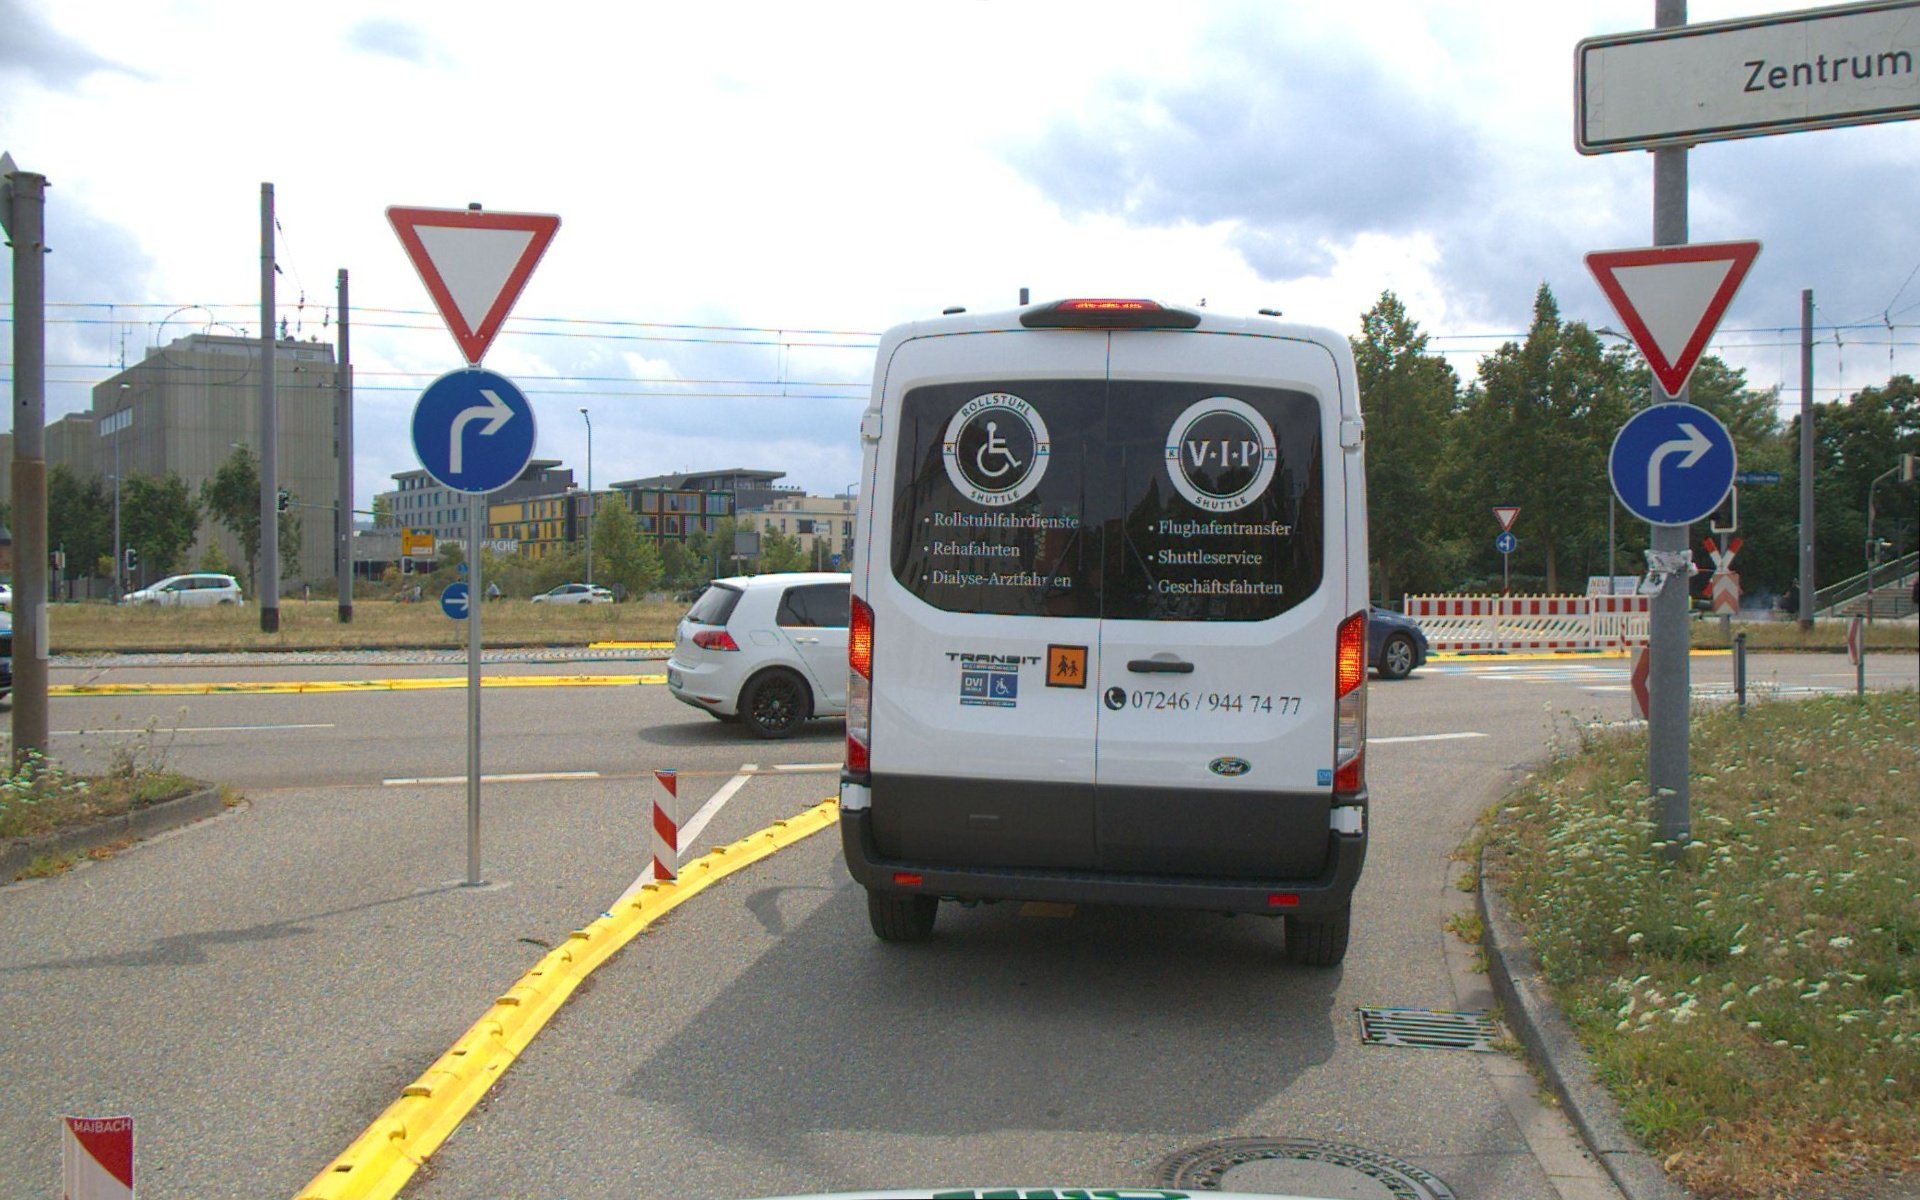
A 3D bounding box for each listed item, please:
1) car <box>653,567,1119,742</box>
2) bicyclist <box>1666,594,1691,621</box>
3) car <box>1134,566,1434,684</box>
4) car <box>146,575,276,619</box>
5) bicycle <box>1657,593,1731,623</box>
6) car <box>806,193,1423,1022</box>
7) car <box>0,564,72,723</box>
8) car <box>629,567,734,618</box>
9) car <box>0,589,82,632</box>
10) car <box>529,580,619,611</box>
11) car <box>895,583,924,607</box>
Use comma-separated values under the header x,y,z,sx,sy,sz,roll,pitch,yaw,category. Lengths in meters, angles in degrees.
x,y,z,sx,sy,sz,roll,pitch,yaw,category
-0.733,0.454,15.974,4.183,1.523,1.791,0,1,-20,car
23.749,0.243,54.689,0.645,0.899,0.604,0,-1,38,bicyclist
4.575,0.300,23.211,4.064,1.523,1.782,-1,1,-33,car
-29.582,-0.122,65.394,1.905,1.695,4.326,0,0,43,car
24.129,0.254,54.380,2.162,0.954,0.611,0,-1,39,bicycle
0.864,0.010,8.407,2.081,2.745,5.636,0,0,7,car
-11.535,0.426,16.600,4.269,1.561,1.732,0,1,-2,car
-11.740,-0.311,69.807,3.903,2.049,2.001,0,-1,17,car
-34.831,0.380,59.791,1.961,1.508,5.161,0,1,38,car
-18.865,-0.220,80.880,3.903,1.489,1.834,0,-1,18,car
-3.272,-0.303,106.177,1.791,1.489,3.998,0,0,-2,car
